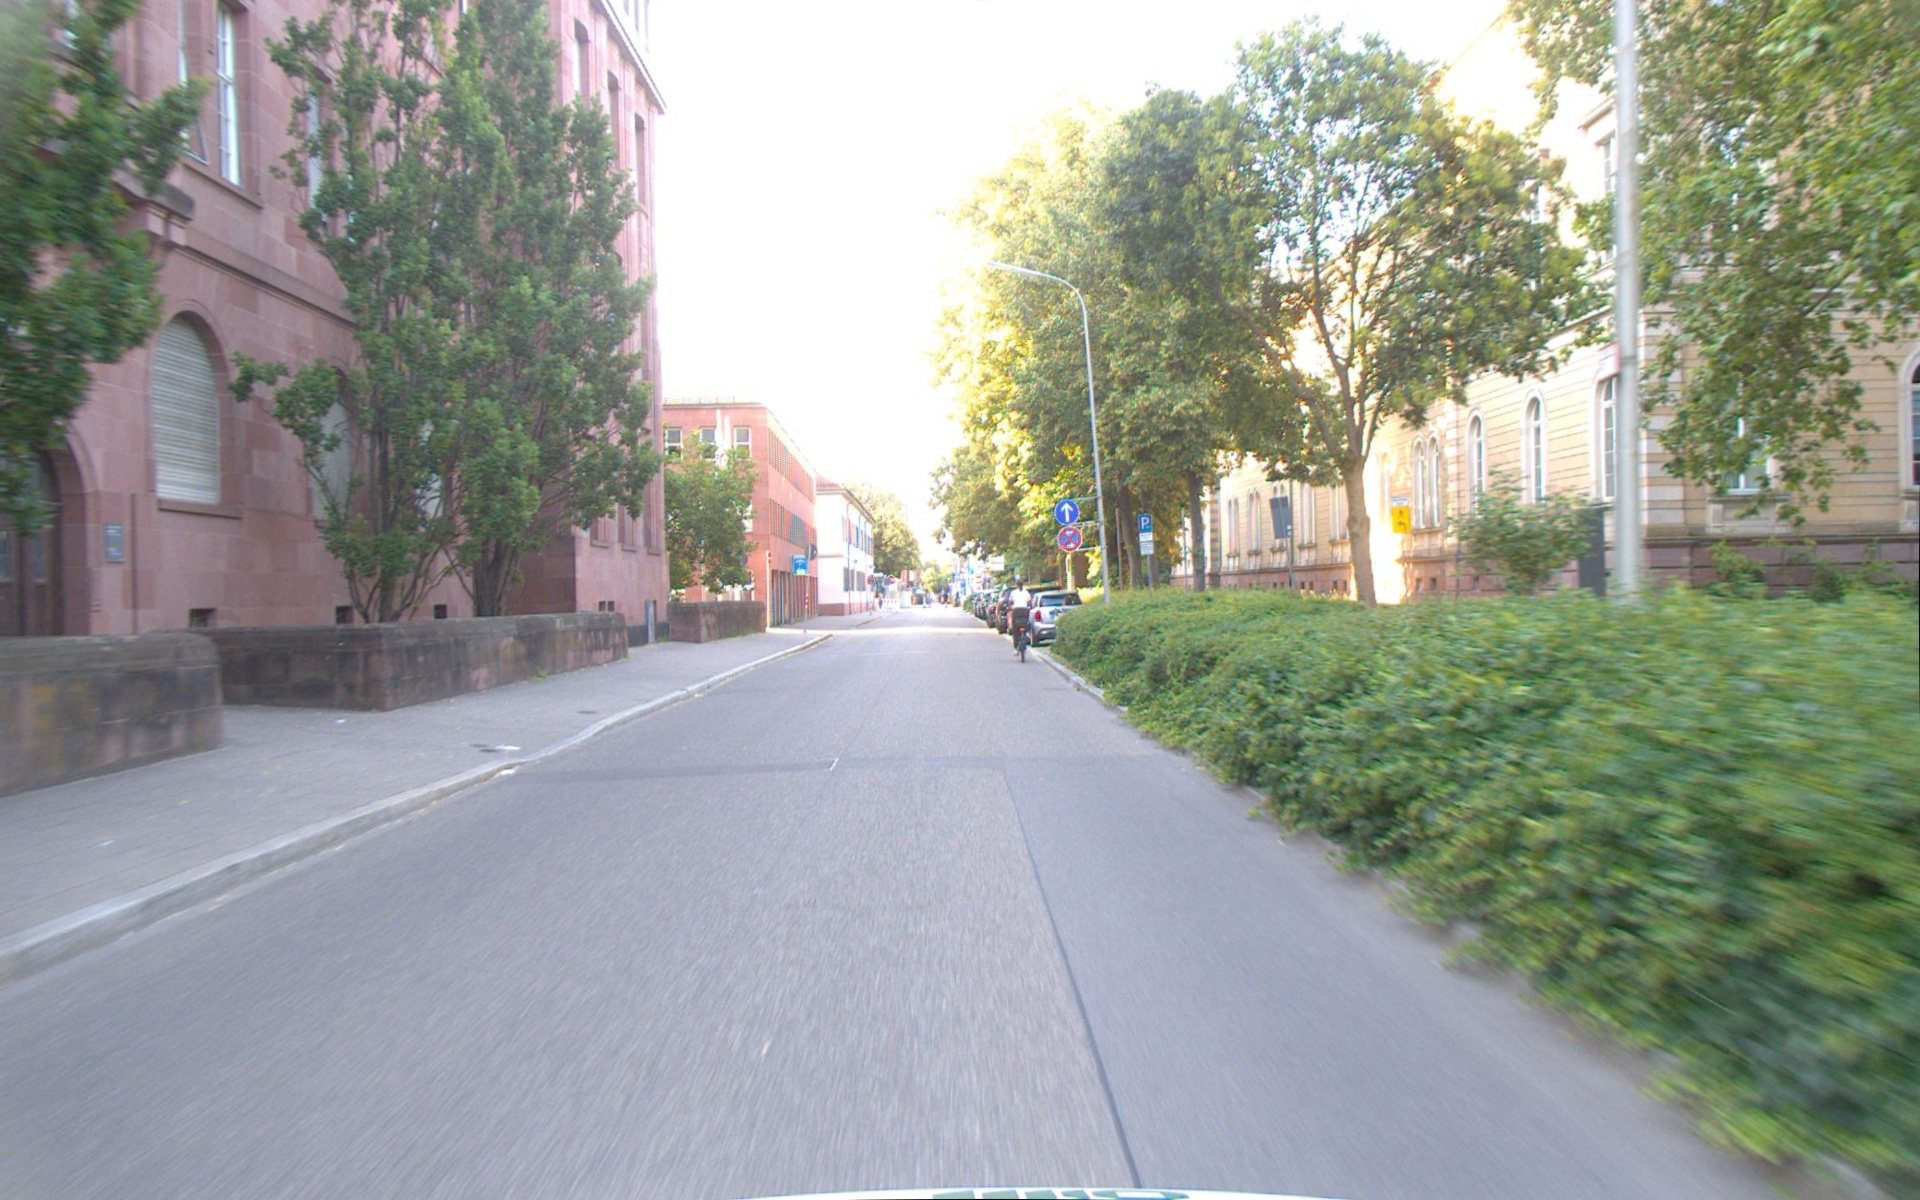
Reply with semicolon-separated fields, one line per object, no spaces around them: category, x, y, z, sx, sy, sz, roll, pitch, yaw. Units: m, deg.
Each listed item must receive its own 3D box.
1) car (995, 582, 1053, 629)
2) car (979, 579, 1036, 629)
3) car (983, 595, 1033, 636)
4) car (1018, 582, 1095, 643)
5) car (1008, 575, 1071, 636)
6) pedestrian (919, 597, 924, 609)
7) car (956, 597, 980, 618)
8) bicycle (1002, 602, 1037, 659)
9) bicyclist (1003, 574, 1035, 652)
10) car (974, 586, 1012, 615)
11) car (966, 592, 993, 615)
car;2.226;0.173;58.417;1.681;1.564;4.046;-2;0;-3
car;1.825;0.152;64.722;1.953;1.847;3.999;-2;0;-2
car;2.140;0.685;74.656;1.953;1.735;3.999;-2;0;-2
car;2.591;0.351;45.046;1.652;1.472;3.670;-4;-1;-2
car;2.424;0.136;51.165;1.680;1.742;4.472;-2;0;0
pedestrian;-4.888;0.367;208.724;0.523;1.497;0.448;-2;0;-3
car;0.866;0.813;183.144;2.443;2.234;4.908;-2;0;-2
bicycle;1.295;0.657;36.276;0.625;1.214;1.875;0;0;-2
bicyclist;1.298;0.276;36.268;0.626;1.696;0.842;0;0;-3
car;1.898;0.017;96.663;1.953;1.612;3.999;-2;0;-2
car;1.552;0.272;132.833;1.953;1.779;3.999;-2;0;-2
